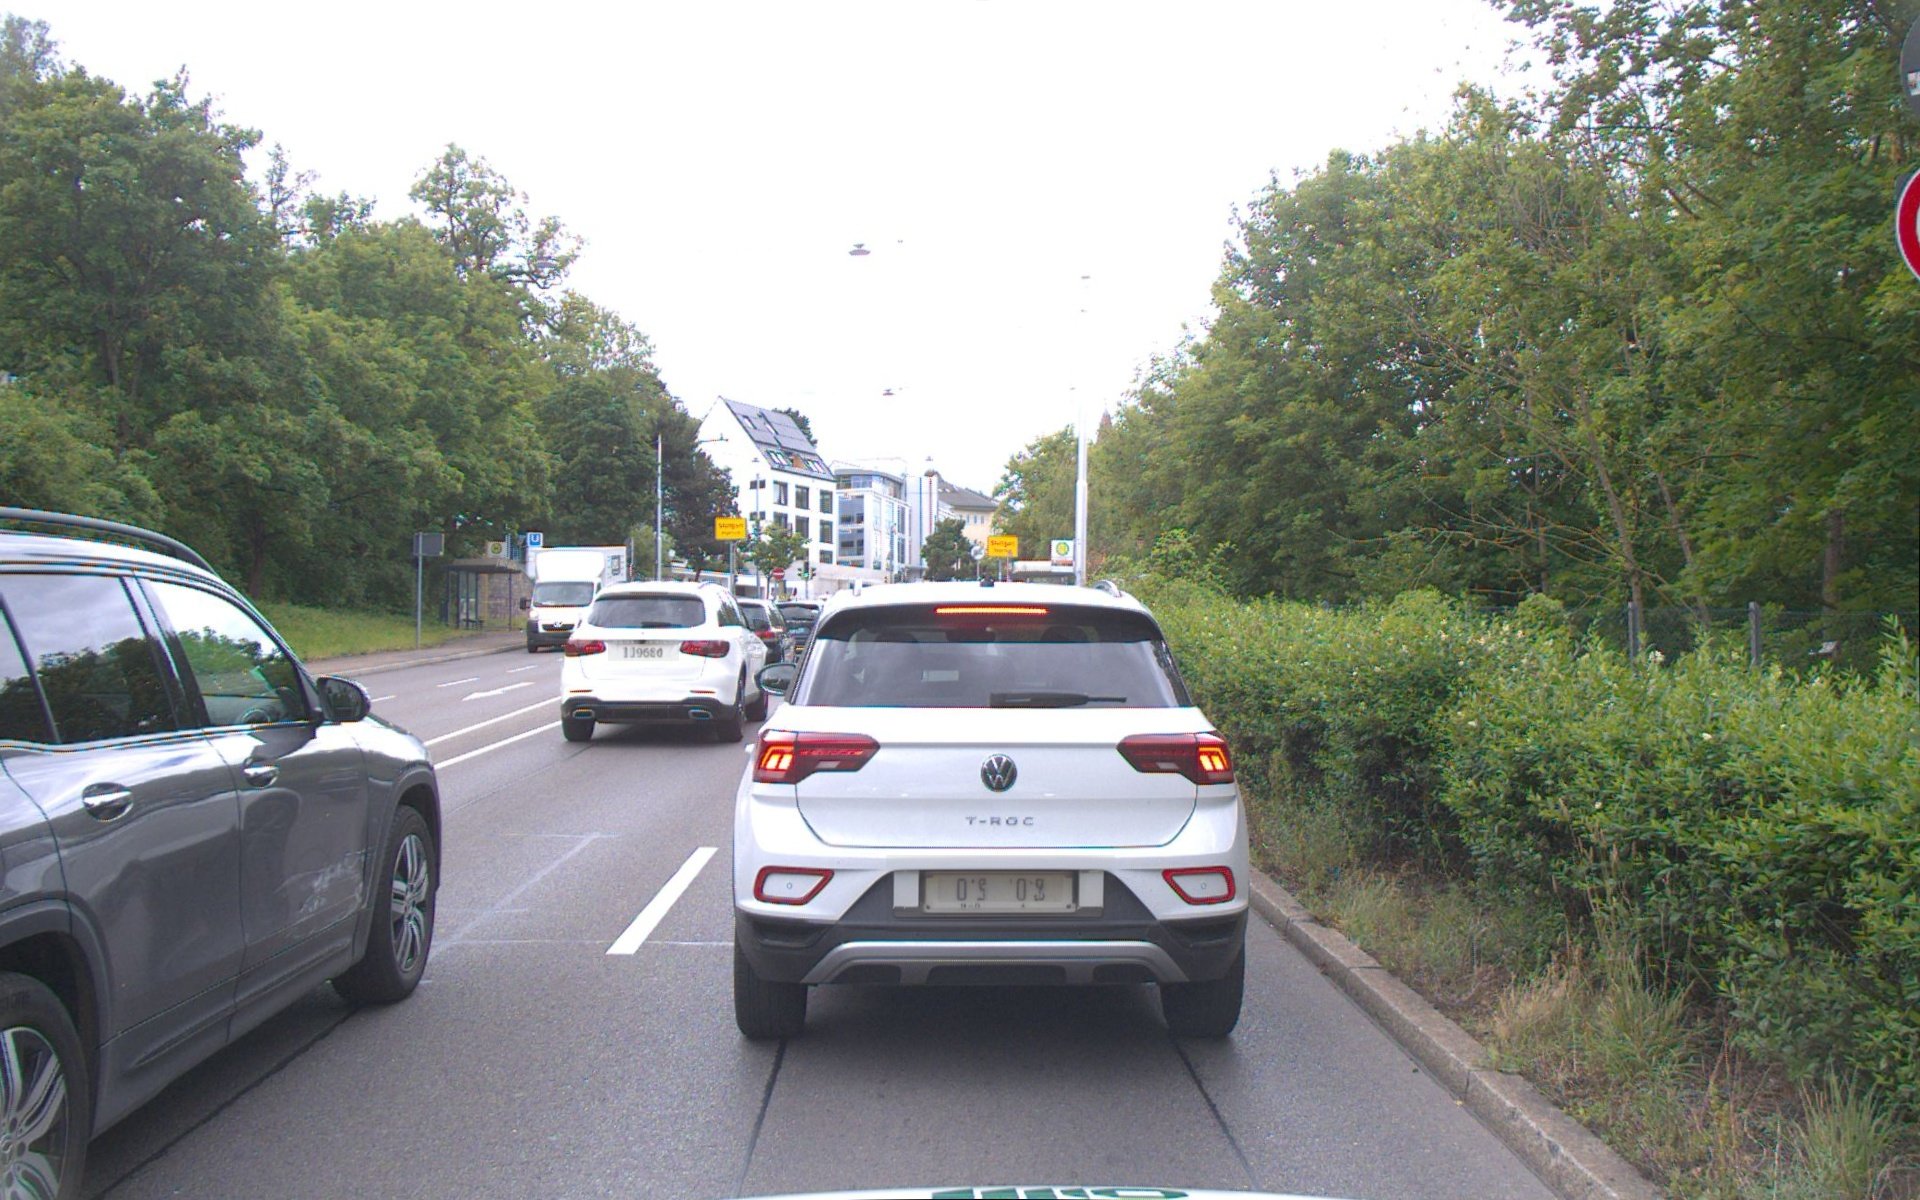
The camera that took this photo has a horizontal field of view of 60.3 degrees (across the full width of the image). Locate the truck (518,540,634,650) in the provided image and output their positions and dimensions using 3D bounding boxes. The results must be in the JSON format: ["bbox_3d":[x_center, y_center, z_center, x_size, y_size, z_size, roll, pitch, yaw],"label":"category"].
[{"bbox_3d":[-11.733,-0.130,51.023,2.247,3.104,6.975,-1,0,-3],"label":"truck"}]

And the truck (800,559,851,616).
[{"bbox_3d":[-6.910,-0.628,85.241,2.315,2.830,4.476,-1,0,-2],"label":"truck"}]

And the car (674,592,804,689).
[{"bbox_3d":[-3.721,0.650,28.474,1.792,1.523,3.999,-1,0,-2],"label":"car"}]

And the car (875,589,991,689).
[{"bbox_3d":[-0.480,0.608,28.008,1.792,1.552,3.999,-1,0,-2],"label":"car"}]

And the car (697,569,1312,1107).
[{"bbox_3d":[0.079,0.683,6.818,1.792,1.552,3.999,0,0,-2],"label":"car"}]

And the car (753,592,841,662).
[{"bbox_3d":[-3.833,0.616,39.395,1.792,1.552,3.999,-1,0,-2],"label":"car"}]

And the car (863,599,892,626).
[{"bbox_3d":[-5.419,0.791,109.008,1.778,1.685,3.927,-1,0,-2],"label":"car"}]

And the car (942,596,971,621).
[{"bbox_3d":[-0.249,0.557,109.060,1.792,1.552,3.999,-1,0,-2],"label":"car"}]

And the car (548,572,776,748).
[{"bbox_3d":[-3.138,0.586,18.204,1.879,1.698,3.999,1,0,-2],"label":"car"}]

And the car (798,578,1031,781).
[{"bbox_3d":[-0.410,0.613,14.887,1.792,1.552,3.999,-1,0,-2],"label":"car"}]

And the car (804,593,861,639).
[{"bbox_3d":[-4.501,0.541,58.708,1.792,1.552,3.999,-1,0,-2],"label":"car"}]

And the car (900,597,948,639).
[{"bbox_3d":[-1.407,0.690,64.652,1.792,1.552,3.999,-1,0,-2],"label":"car"}]

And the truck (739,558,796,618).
[{"bbox_3d":[-9.351,-0.573,80.592,2.315,2.754,4.476,-1,0,-2],"label":"truck"}]

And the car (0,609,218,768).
[{"bbox_3d":[-9.533,0.838,17.295,1.645,1.420,4.359,-1,0,-2],"label":"car"}]

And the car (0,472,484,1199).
[{"bbox_3d":[-2.737,0.598,4.441,1.812,1.680,4.355,0,0,-2],"label":"car"}]

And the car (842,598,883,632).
[{"bbox_3d":[-4.615,0.691,78.437,1.792,1.552,3.999,-1,0,-2],"label":"car"}]

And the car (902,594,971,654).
[{"bbox_3d":[-0.680,0.627,45.663,1.792,1.552,3.999,-1,0,-2],"label":"car"}]

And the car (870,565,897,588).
[{"bbox_3d":[-5.393,-1.664,116.653,1.792,1.552,3.999,-1,0,-2],"label":"car"}]
